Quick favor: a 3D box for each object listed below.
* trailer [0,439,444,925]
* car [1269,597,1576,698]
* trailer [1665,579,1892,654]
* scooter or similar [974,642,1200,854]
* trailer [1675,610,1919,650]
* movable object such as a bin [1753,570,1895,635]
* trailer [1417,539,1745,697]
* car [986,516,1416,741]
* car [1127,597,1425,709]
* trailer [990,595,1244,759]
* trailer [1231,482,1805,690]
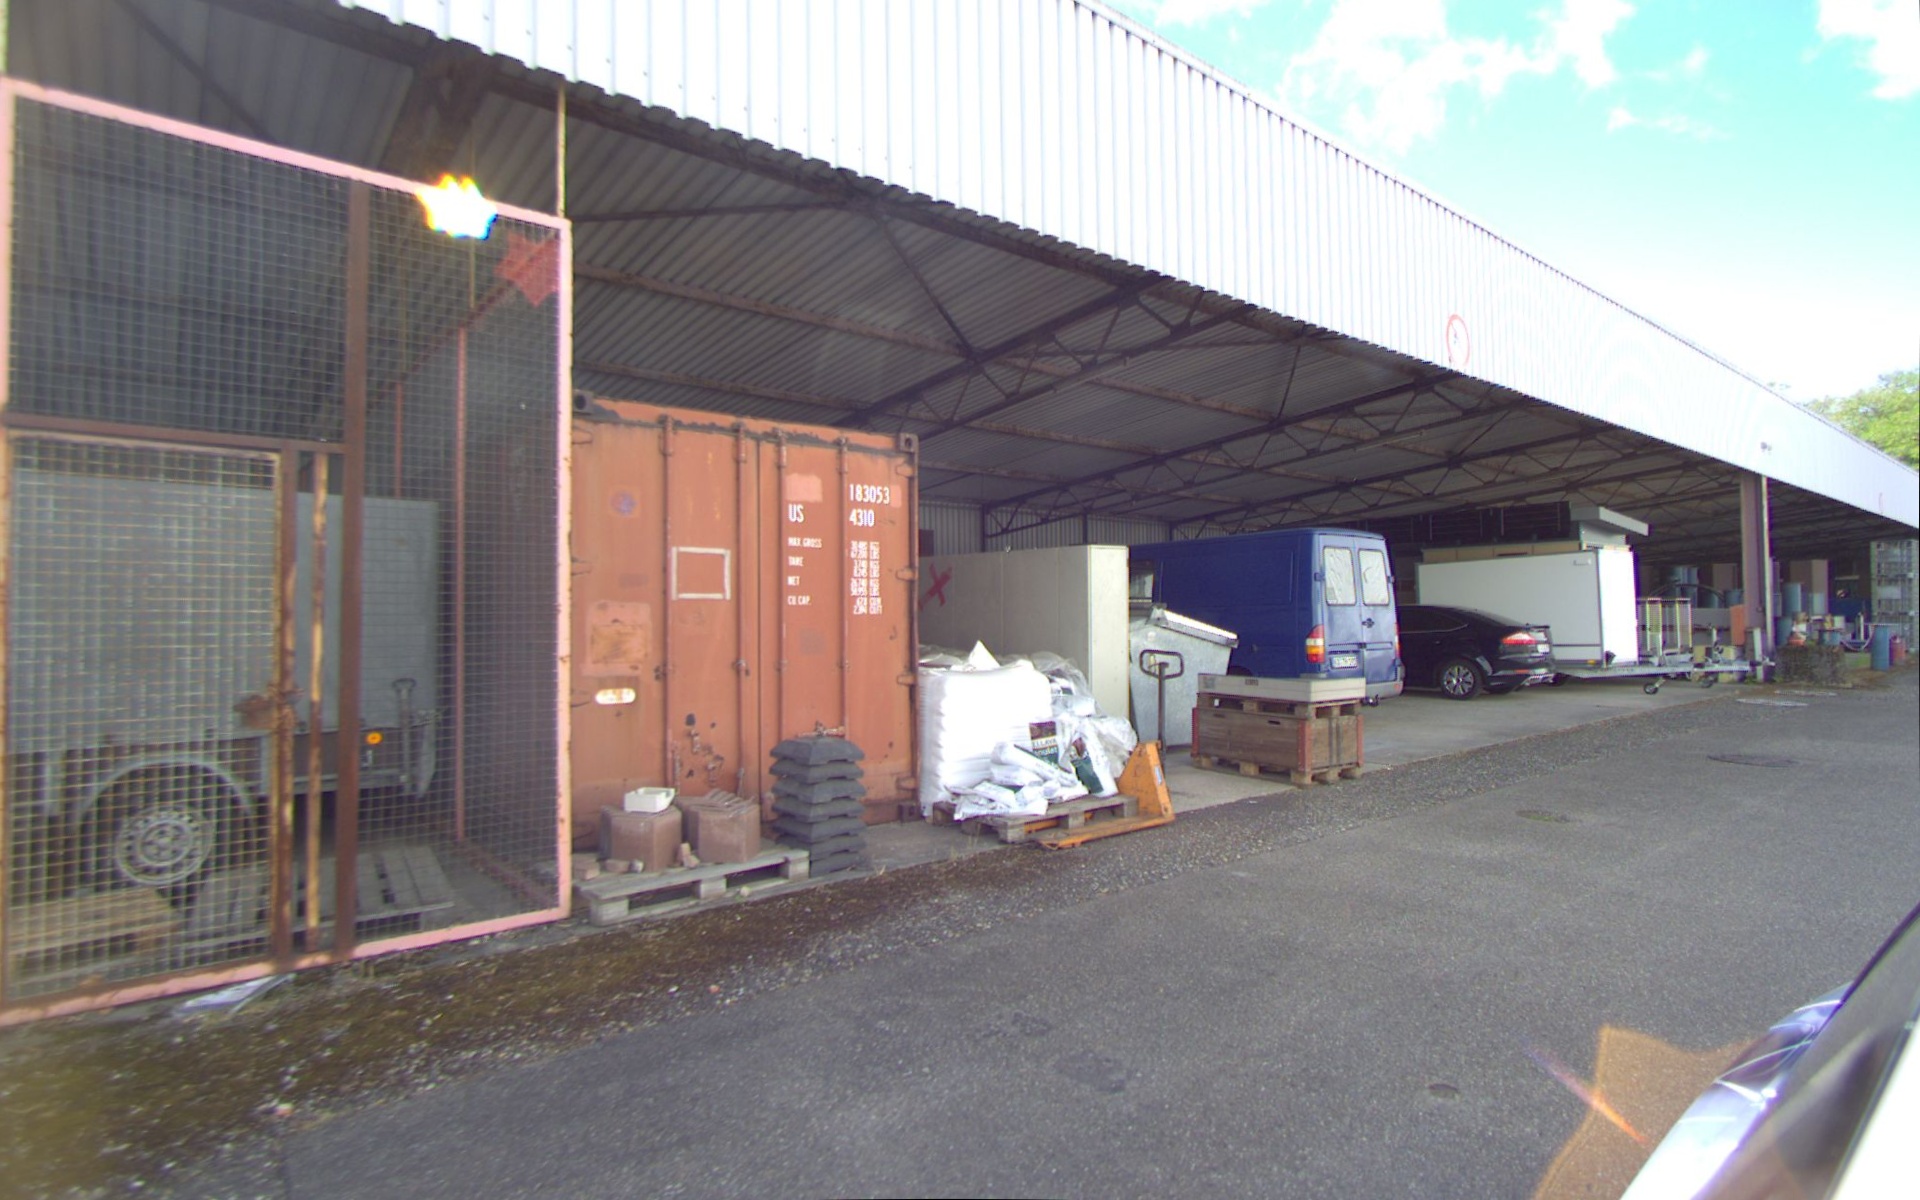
[{"bbox_3d":[-4.741,0.361,5.184,3.462,2.170,1.579,0,0,-43],"label":"trailer"},{"bbox_3d":[7.617,0.683,16.985,1.833,1.451,4.349,0,0,-42],"label":"car"},{"bbox_3d":[23.788,0.429,29.609,2.009,2.022,4.831,0,0,-36],"label":"trailer"},{"bbox_3d":[0.859,0.883,6.554,1.564,1.149,0.521,-1,0,-40],"label":"scooter or similar"},{"bbox_3d":[26.194,0.889,31.832,1.974,1.147,5.743,0,-1,-40],"label":"trailer"},{"bbox_3d":[38.523,0.097,45.221,1.965,2.757,4.622,2,-1,-41],"label":"movable object such as a bin"},{"bbox_3d":[10.514,0.255,17.470,1.658,2.364,4.552,0,0,-39],"label":"trailer"},{"bbox_3d":[2.840,0.311,13.124,2.047,2.326,5.225,0,-1,-40],"label":"car"},{"bbox_3d":[4.765,0.708,15.734,1.817,1.472,4.116,0,0,-39],"label":"car"},{"bbox_3d":[1.597,0.715,10.595,1.611,1.481,2.100,-1,0,-36],"label":"trailer"},{"bbox_3d":[10.741,-0.262,21.128,2.627,3.337,10.317,0,0,-38],"label":"trailer"}]
